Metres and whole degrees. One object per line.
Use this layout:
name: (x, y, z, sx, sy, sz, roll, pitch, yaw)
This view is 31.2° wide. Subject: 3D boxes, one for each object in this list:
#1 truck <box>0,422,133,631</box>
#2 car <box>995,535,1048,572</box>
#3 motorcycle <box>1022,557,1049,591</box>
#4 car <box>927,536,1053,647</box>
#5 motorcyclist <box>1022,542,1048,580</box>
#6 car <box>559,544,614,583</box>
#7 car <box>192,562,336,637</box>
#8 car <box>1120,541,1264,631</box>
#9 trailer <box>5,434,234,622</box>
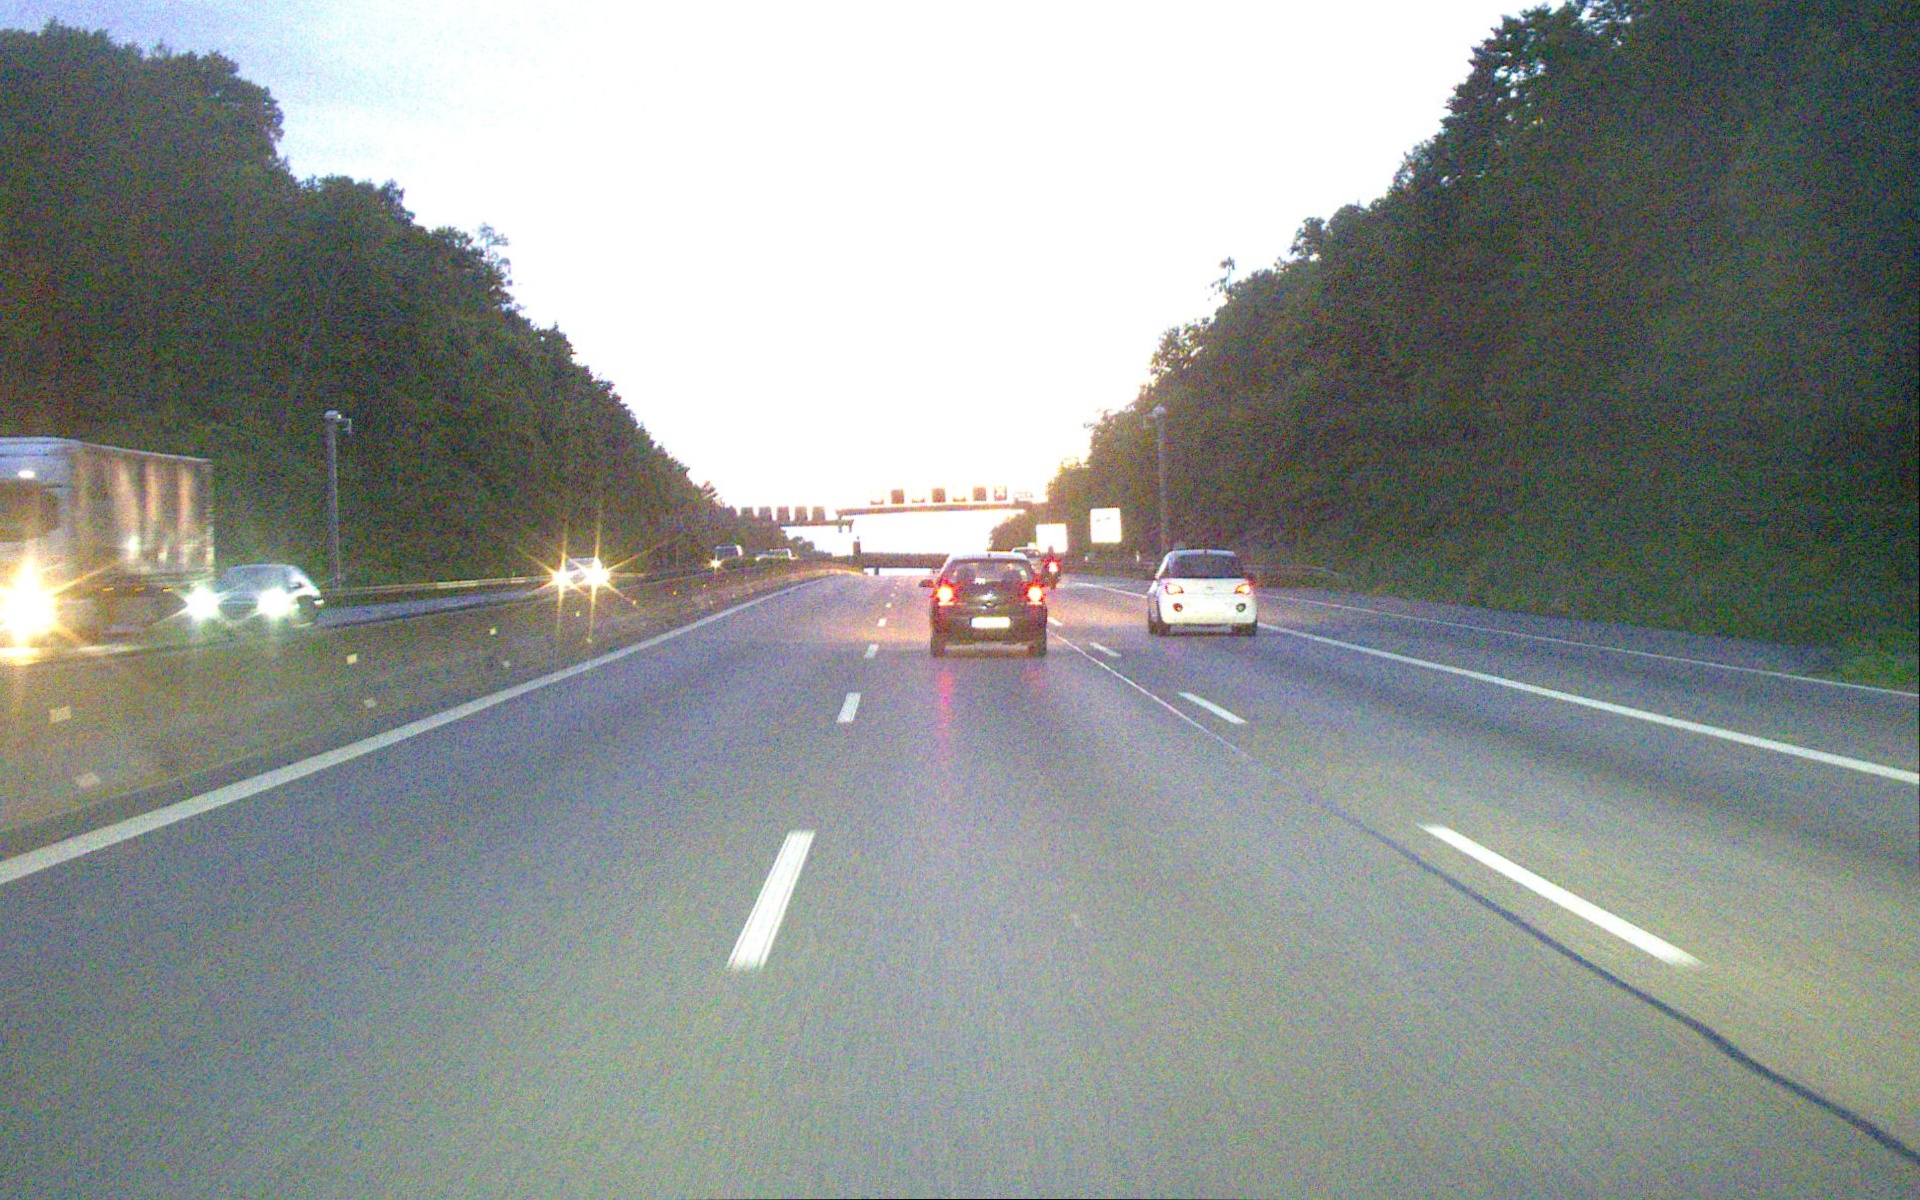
truck: (-18.713, -1.442, 68.718, 2.647, 3.958, 7.122, -1, 1, -1)
car: (2.691, -2.032, 151.258, 1.865, 1.489, 4.399, 1, 0, -5)
motorcycle: (2.560, -0.892, 116.675, 0.829, 1.130, 2.476, -1, 0, -1)
car: (0.388, -0.107, 49.380, 1.704, 1.504, 4.232, 1, 0, -1)
motorcyclist: (2.550, -1.323, 116.606, 0.829, 1.287, 1.190, -1, 0, -1)
car: (-15.565, -1.541, 143.450, 1.880, 1.569, 4.655, -1, 1, -1)
car: (-14.367, -0.046, 71.256, 1.910, 1.446, 5.354, -1, 1, 0)
car: (3.974, -0.219, 59.565, 1.825, 1.471, 4.399, 1, 0, -5)
trailer: (-18.762, -1.600, 77.417, 2.647, 3.917, 10.186, -1, 1, 0)
